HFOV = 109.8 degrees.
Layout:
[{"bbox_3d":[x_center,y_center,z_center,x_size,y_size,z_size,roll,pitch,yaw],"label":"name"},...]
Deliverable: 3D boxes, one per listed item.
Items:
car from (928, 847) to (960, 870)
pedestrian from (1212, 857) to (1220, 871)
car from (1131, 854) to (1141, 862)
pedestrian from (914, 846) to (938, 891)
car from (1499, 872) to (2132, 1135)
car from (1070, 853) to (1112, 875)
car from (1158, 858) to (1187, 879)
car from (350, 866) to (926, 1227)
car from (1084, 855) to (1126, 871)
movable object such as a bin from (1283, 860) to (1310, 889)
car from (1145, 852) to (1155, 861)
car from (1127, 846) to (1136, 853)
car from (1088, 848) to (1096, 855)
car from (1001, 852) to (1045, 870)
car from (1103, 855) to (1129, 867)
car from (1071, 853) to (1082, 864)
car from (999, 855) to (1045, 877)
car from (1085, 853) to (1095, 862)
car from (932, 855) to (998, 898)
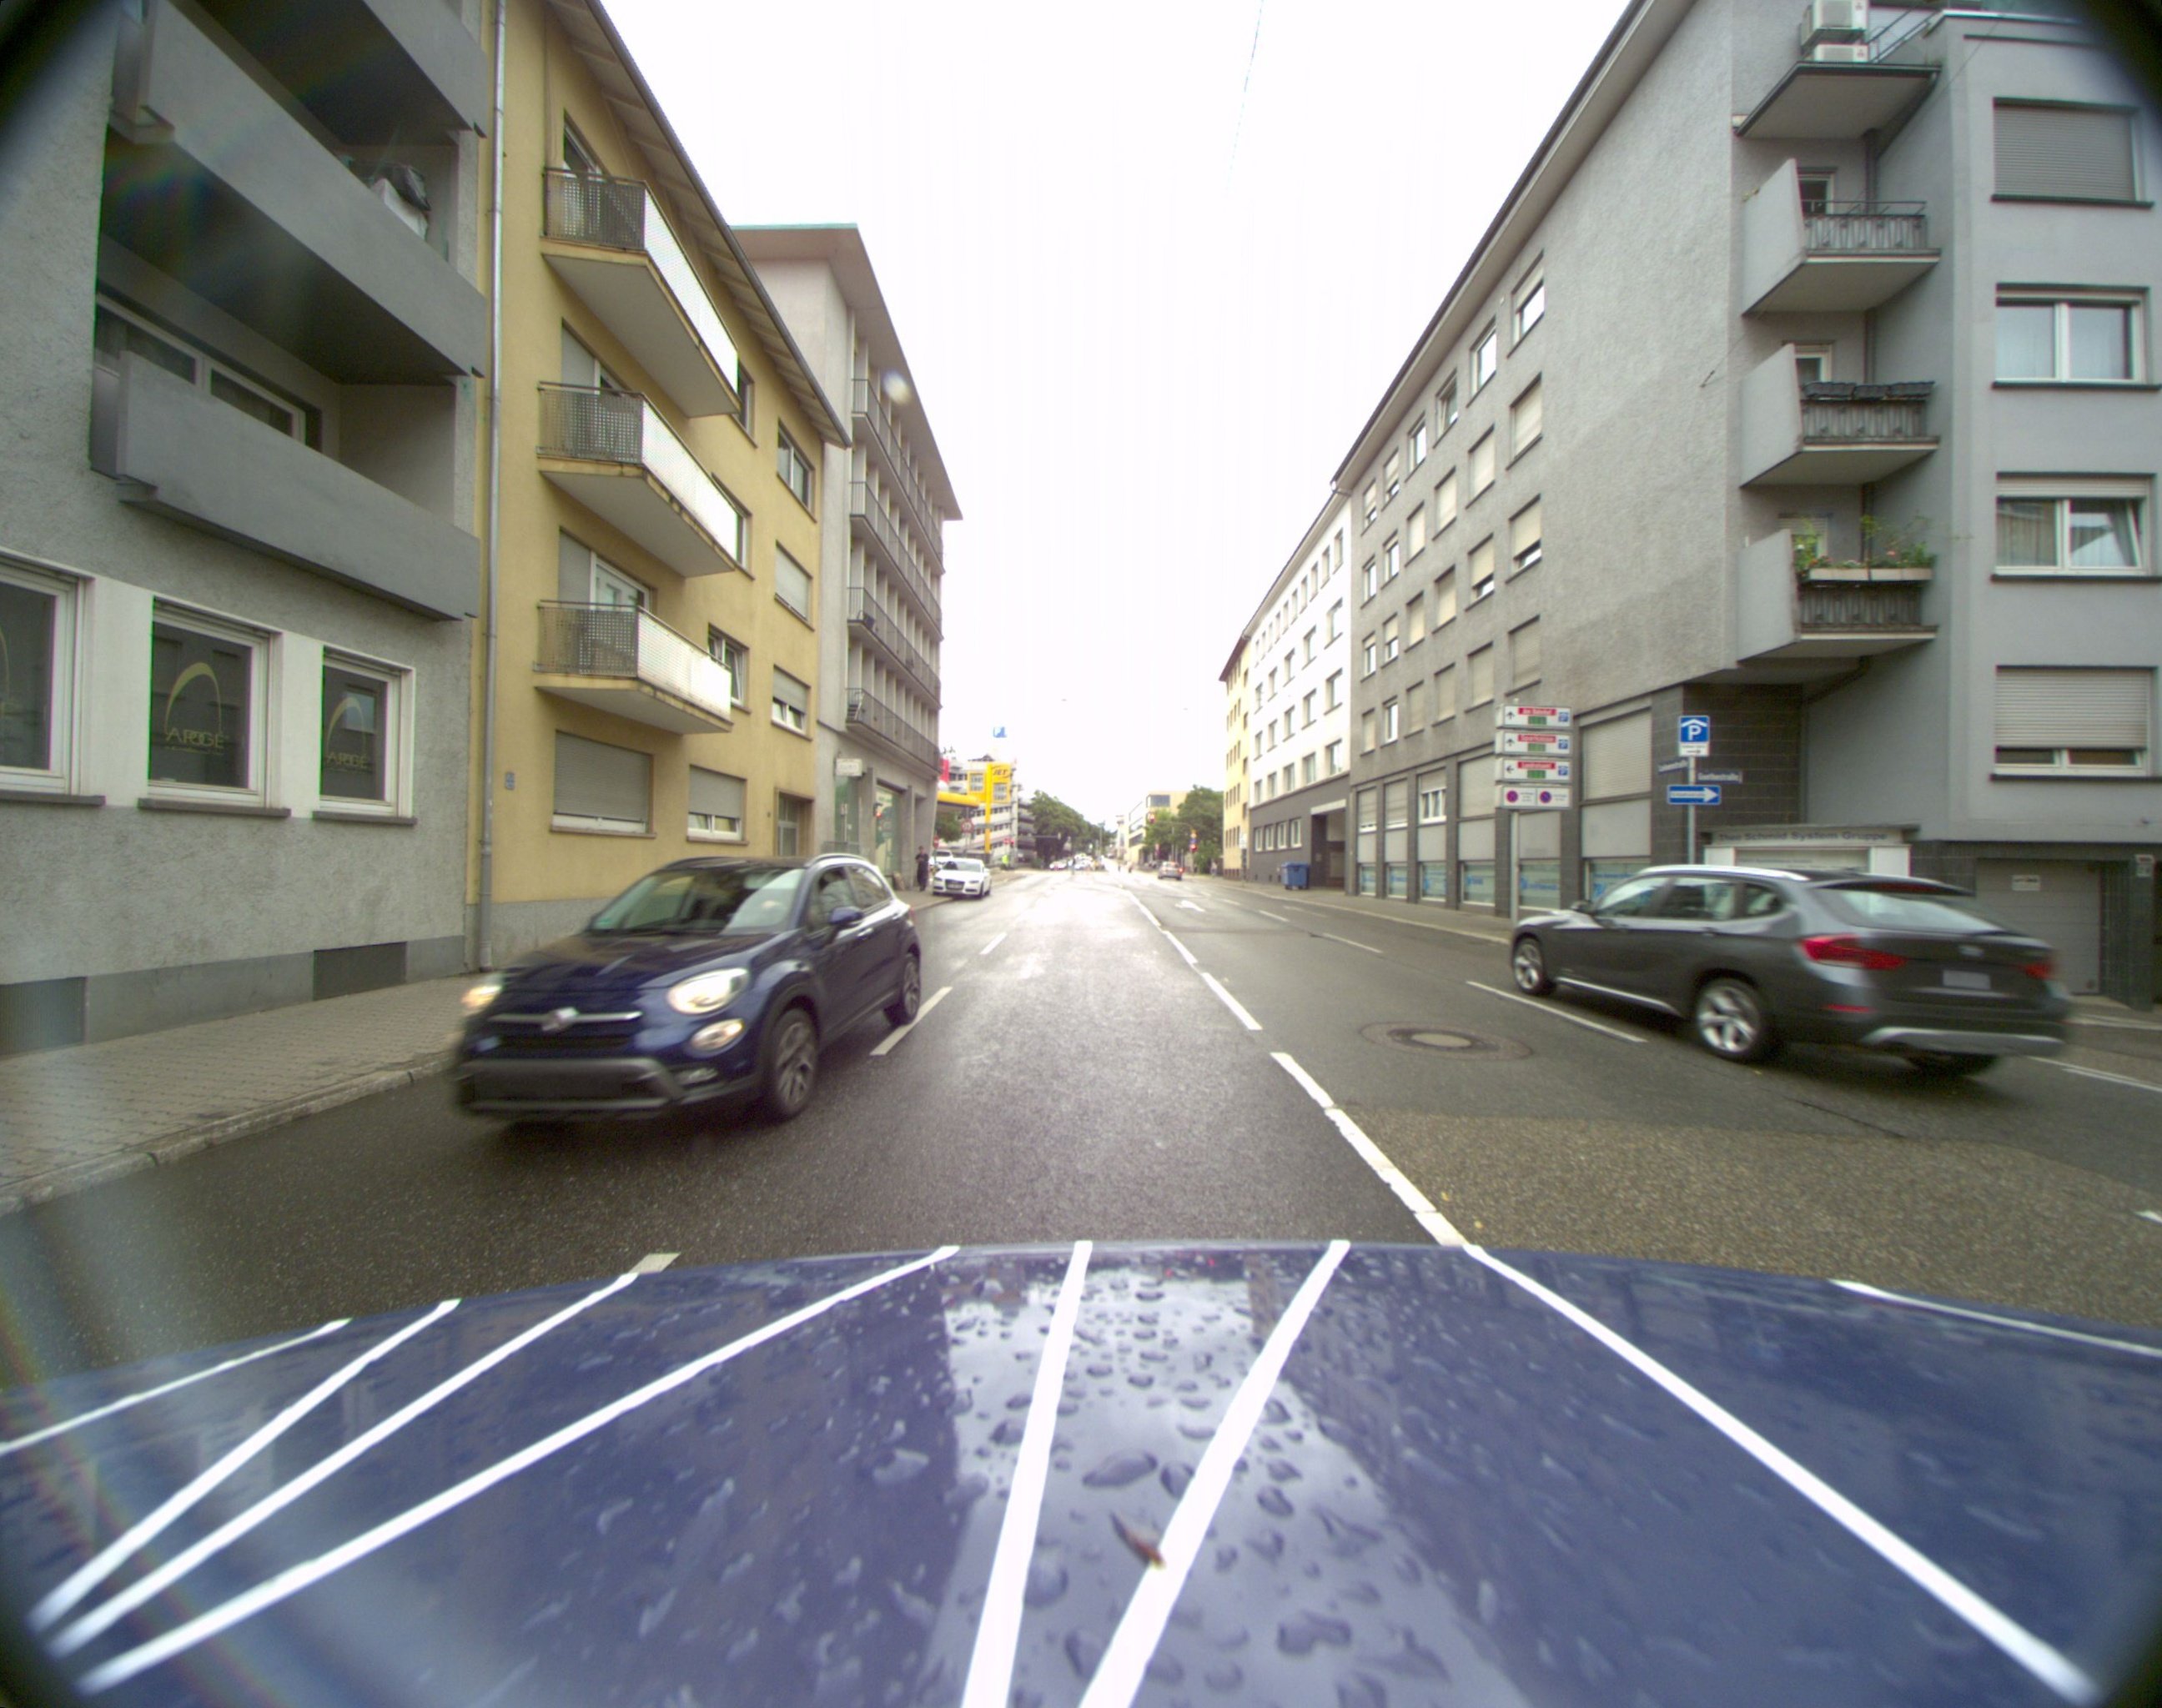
[{"bbox_3d":[-9.334,0.276,51.919,1.771,1.465,3.998,-2,0,-5],"label":"car"},{"bbox_3d":[11.555,0.876,64.899,0.582,1.143,0.407,3,1,15],"label":"pedestrian"},{"bbox_3d":[12.870,0.862,177.938,1.998,1.683,4.000,-2,1,2],"label":"car"},{"bbox_3d":[-6.011,0.550,29.485,0.679,1.745,0.888,1,1,2],"label":"pedestrian"},{"bbox_3d":[5.859,1.016,6.960,1.707,1.498,4.159,3,0,0],"label":"car"},{"bbox_3d":[0.912,0.889,71.052,3.794,1.823,1.692,-3,1,2],"label":"car"},{"bbox_3d":[7.421,1.146,62.128,1.883,1.580,4.373,0,1,1],"label":"car"},{"bbox_3d":[-2.463,0.929,5.525,1.771,1.571,4.000,-1,0,1],"label":"car"},{"bbox_3d":[2.327,0.840,73.912,3.996,1.499,1.738,1,1,2],"label":"car"},{"bbox_3d":[10.414,0.986,36.784,0.946,1.325,1.096,-3,1,1],"label":"movable object such as a bin"},{"bbox_3d":[15.459,0.544,170.050,1.998,1.863,3.999,-2,1,0],"label":"car"},{"bbox_3d":[12.863,-1.158,192.888,1.998,1.683,4.000,-2,1,2],"label":"car"},{"bbox_3d":[3.037,-0.705,209.402,1.998,2.002,3.999,-2,1,1],"label":"car"},{"bbox_3d":[-5.809,0.702,76.492,3.994,1.751,2.001,1,1,9],"label":"car"},{"bbox_3d":[5.613,1.046,120.247,3.995,1.736,2.000,-2,1,5],"label":"car"},{"bbox_3d":[-0.838,0.918,152.868,1.998,2.002,3.999,-2,1,0],"label":"car"},{"bbox_3d":[-5.259,1.080,68.109,3.930,1.706,1.902,-3,0,-1],"label":"car"},{"bbox_3d":[1.836,0.728,156.346,1.998,1.736,3.999,-2,1,1],"label":"car"},{"bbox_3d":[-4.364,0.803,29.064,1.803,1.427,4.166,1,0,1],"label":"car"}]
